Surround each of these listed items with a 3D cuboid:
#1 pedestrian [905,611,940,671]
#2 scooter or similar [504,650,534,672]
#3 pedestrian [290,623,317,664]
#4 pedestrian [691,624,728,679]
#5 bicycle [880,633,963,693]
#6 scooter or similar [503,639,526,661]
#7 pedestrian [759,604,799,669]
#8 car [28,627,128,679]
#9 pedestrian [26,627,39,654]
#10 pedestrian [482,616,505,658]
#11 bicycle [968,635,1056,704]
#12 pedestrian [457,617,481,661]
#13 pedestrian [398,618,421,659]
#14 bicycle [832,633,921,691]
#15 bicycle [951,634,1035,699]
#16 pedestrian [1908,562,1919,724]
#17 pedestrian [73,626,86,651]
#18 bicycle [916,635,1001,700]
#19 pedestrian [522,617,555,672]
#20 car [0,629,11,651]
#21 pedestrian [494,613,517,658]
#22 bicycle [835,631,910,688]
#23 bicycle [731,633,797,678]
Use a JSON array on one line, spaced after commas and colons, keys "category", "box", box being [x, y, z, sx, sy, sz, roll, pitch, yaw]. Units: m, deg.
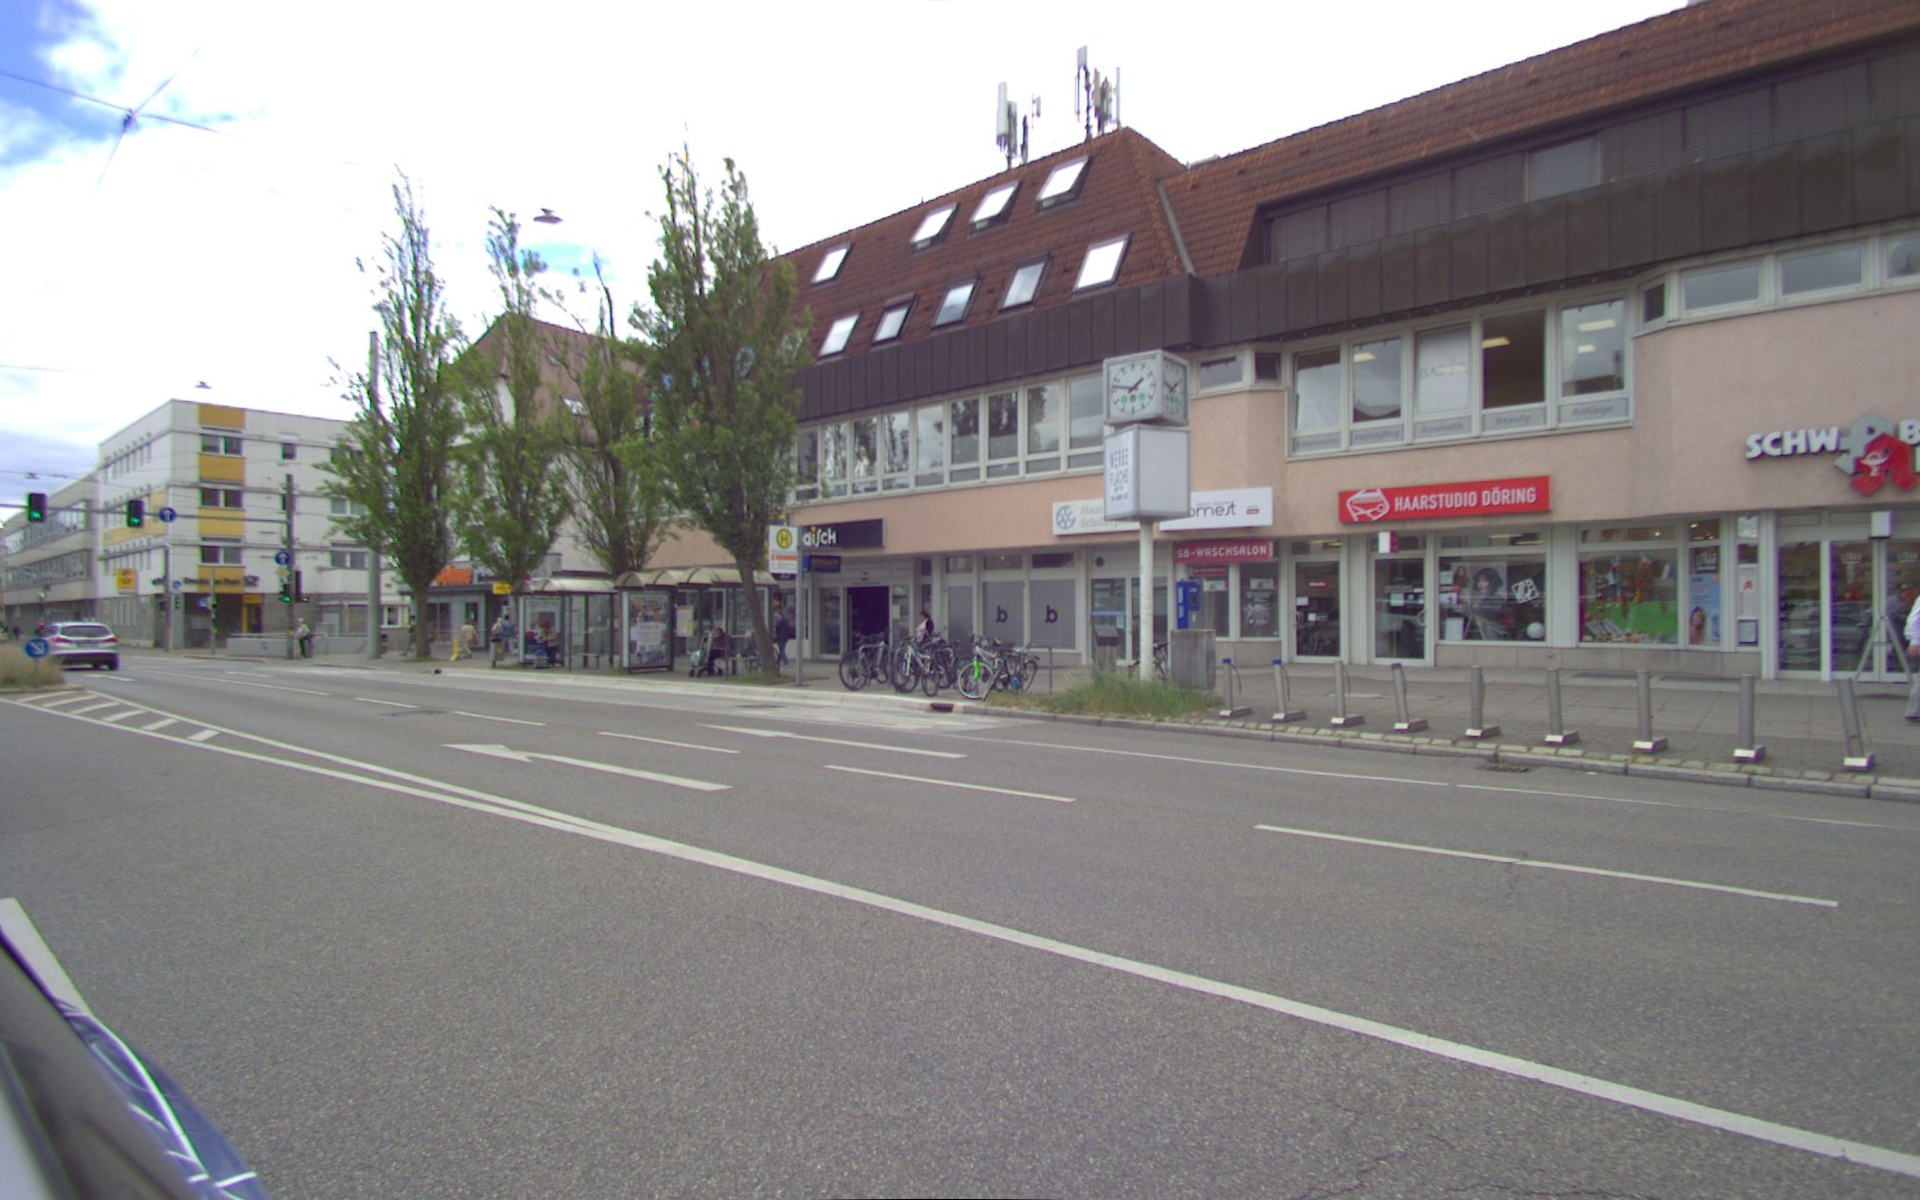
[{"category": "pedestrian", "box": [-1.004, 1.100, 27.126, 0.587, 1.559, 0.704, -3, -2, 40]}, {"category": "scooter or similar", "box": [-13.376, 1.846, 30.703, 0.702, 0.606, 0.586, -2, -2, 41]}, {"category": "pedestrian", "box": [-27.351, 1.819, 42.163, 0.612, 1.646, 0.695, -3, 1, 30]}, {"category": "pedestrian", "box": [-6.425, 1.311, 25.964, 0.588, 1.374, 0.704, -3, -2, 43]}, {"category": "bicycle", "box": [-0.731, 1.221, 20.028, 0.647, 1.098, 2.003, -2, -1, 31]}, {"category": "scooter or similar", "box": [-17.374, 1.939, 39.503, 0.702, 0.855, 0.586, -2, -2, 41]}, {"category": "pedestrian", "box": [-5.124, 1.037, 28.683, 0.754, 1.777, 0.718, -2, 1, 39]}, {"category": "car", "box": [-27.809, 1.622, 31.879, 4.343, 1.517, 1.854, -1, -2, 42]}, {"category": "pedestrian", "box": [-64.711, 2.819, 70.604, 0.526, 1.816, 0.580, -2, 1, 41]}, {"category": "pedestrian", "box": [-19.177, 1.520, 41.604, 0.614, 1.646, 0.580, -2, 1, 39]}, {"category": "bicycle", "box": [0.937, 1.175, 17.691, 0.647, 1.098, 2.003, -2, -1, 31]}, {"category": "pedestrian", "box": [-19.121, 1.521, 39.402, 0.614, 1.646, 0.580, -2, 1, 39]}, {"category": "pedestrian", "box": [-22.655, 1.587, 41.628, 0.614, 1.646, 0.580, -2, 1, 39]}, {"category": "bicycle", "box": [-1.676, 1.230, 20.547, 0.648, 1.098, 1.999, -2, -2, 36]}, {"category": "bicycle", "box": [0.634, 1.191, 18.700, 0.647, 1.098, 2.003, -2, -1, 31]}, {"category": "pedestrian", "box": [10.939, 0.459, 11.049, 0.754, 1.777, 0.718, -2, 1, 39]}, {"category": "pedestrian", "box": [-65.650, 2.873, 75.422, 0.526, 1.816, 0.580, -2, 1, 41]}, {"category": "bicycle", "box": [-0.003, 1.237, 19.024, 0.647, 1.098, 2.003, -2, -1, 31]}, {"category": "pedestrian", "box": [-12.980, 1.356, 31.195, 0.709, 1.665, 0.583, -2, -1, 23]}, {"category": "car", "box": [-93.757, 3.902, 98.118, 4.482, 2.029, 1.974, -2, -1, 39]}, {"category": "pedestrian", "box": [-17.923, 1.398, 39.924, 0.614, 1.725, 0.580, -2, -1, 39]}, {"category": "bicycle", "box": [-1.854, 1.255, 21.757, 0.646, 1.098, 2.006, -1, -1, 27]}, {"category": "bicycle", "box": [-5.014, 1.398, 25.802, 1.929, 1.098, 0.528, -2, -1, 39]}]
